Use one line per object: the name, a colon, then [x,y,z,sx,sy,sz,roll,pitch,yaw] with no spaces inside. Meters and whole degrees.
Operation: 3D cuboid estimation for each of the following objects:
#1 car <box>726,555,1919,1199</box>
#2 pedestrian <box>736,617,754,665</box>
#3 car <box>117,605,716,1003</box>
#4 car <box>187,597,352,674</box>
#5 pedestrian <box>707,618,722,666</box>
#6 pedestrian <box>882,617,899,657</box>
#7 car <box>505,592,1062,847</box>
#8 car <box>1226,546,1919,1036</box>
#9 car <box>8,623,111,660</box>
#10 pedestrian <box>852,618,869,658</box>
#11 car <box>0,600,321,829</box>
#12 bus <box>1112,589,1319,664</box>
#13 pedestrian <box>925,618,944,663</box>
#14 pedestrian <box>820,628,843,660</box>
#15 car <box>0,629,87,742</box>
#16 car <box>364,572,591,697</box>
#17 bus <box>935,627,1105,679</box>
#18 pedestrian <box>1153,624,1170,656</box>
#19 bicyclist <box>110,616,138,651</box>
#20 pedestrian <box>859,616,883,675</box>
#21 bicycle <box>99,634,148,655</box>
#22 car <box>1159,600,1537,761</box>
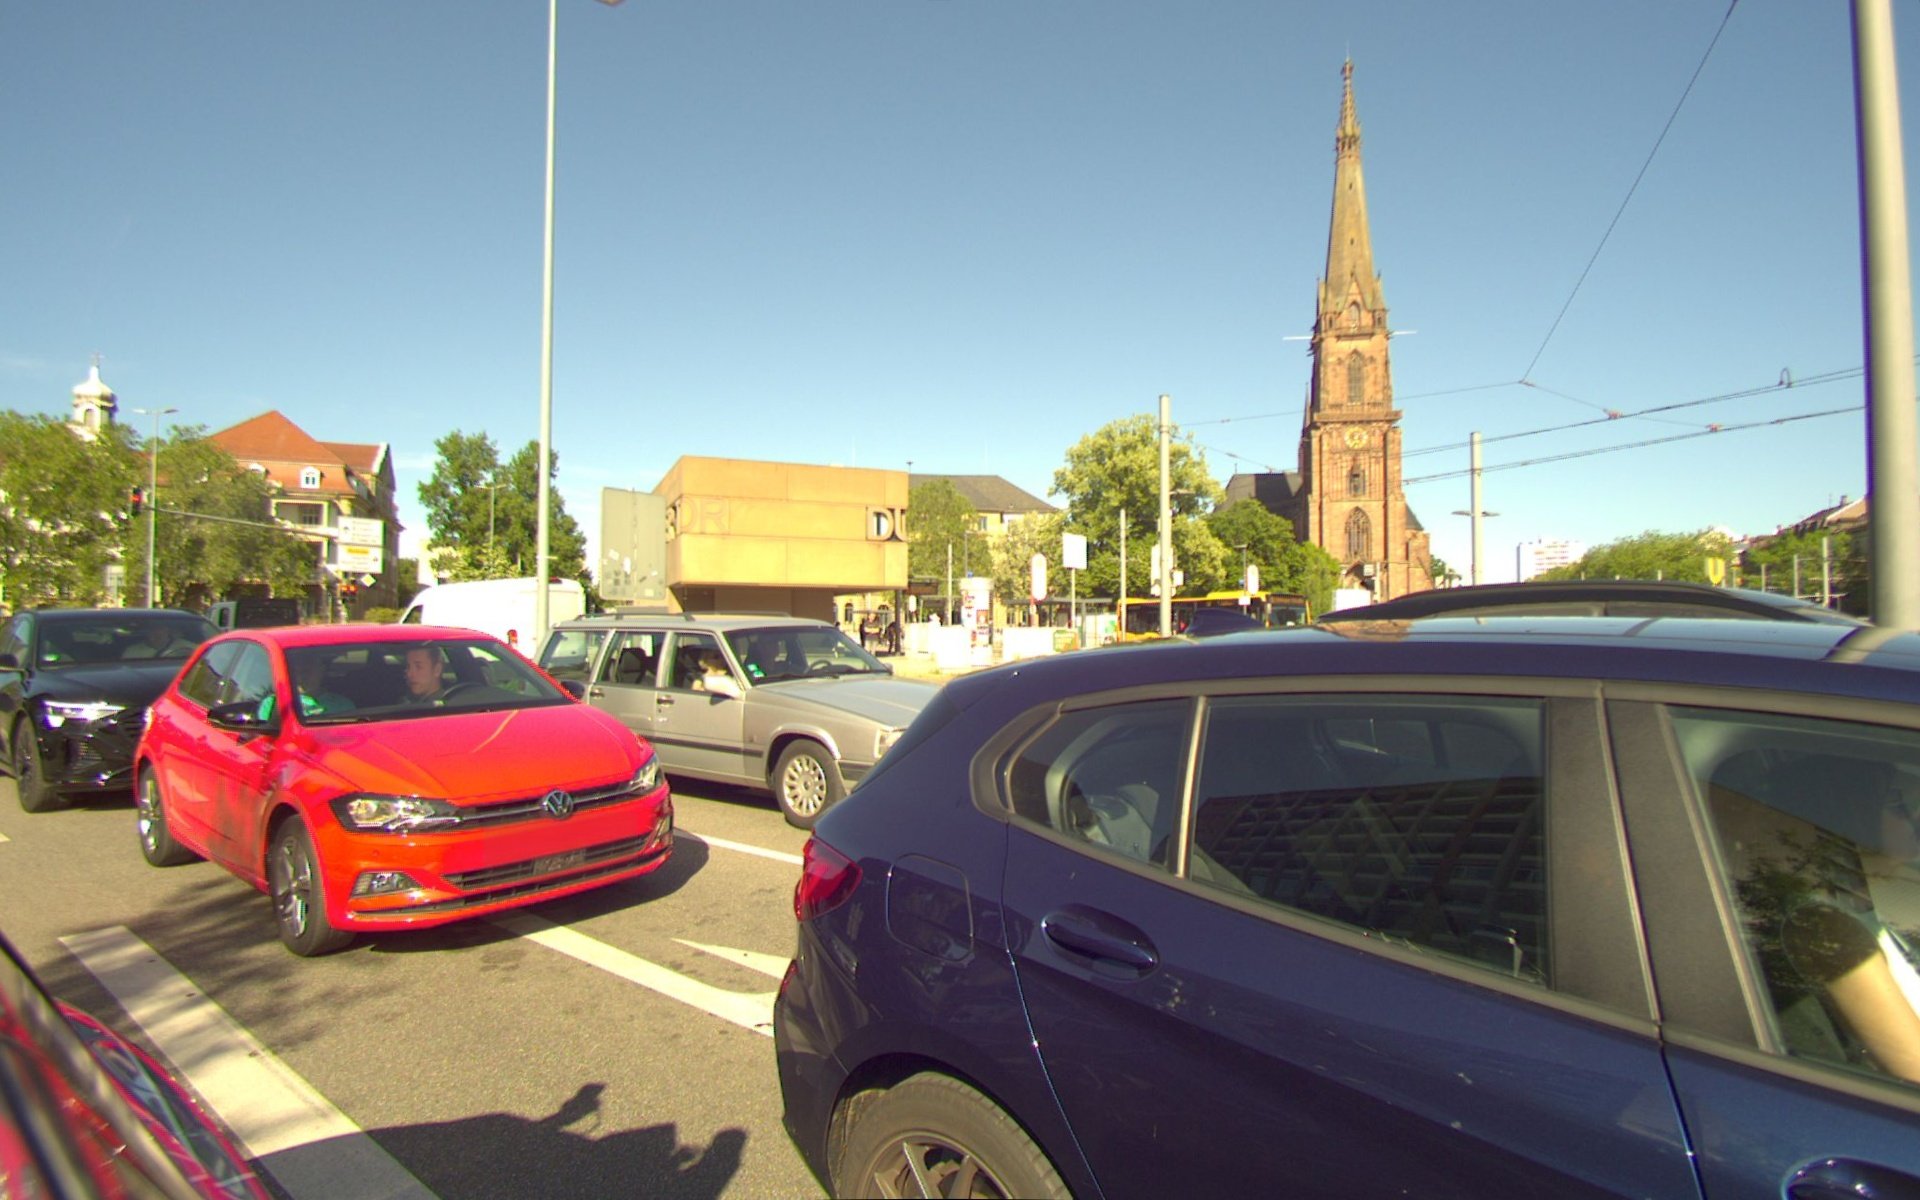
car: [1.582,0.682,1.383,4.030,1.456,1.692,-1,-1,42]
pedestrian: [-8.128,1.543,38.294,0.635,1.789,0.618,0,-2,-8]
car: [-3.228,0.809,5.679,3.850,1.484,1.653,-2,-1,40]
car: [-22.674,1.157,33.147,6.191,2.331,2.095,-1,-2,31]
pedestrian: [-9.343,1.591,38.546,0.460,1.789,0.648,0,-2,-21]
pedestrian: [-3.100,1.644,44.997,0.468,1.789,0.638,-2,-2,36]
car: [-1.658,0.804,8.223,4.746,1.484,1.692,-3,0,38]
car: [3.319,0.610,4.065,4.010,1.529,1.738,-2,-2,44]
car: [-42.122,1.927,47.376,1.522,1.692,3.340,-2,-3,35]
pedestrian: [-4.582,1.744,46.414,0.468,1.789,0.638,-2,-2,36]
car: [-7.795,0.877,9.300,4.446,1.628,1.836,-1,-2,38]
bus: [11.631,1.314,48.111,2.715,3.088,12.201,1,-2,-23]
pedestrian: [-1.039,1.647,41.072,0.634,1.789,0.470,1,-2,-29]
pedestrian: [-5.488,1.874,43.169,0.635,1.320,0.764,1,-2,-40]
car: [-13.605,1.123,13.890,3.704,1.429,1.557,-1,-2,34]
car: [-10.926,0.775,22.799,5.399,2.527,1.979,-1,-2,31]
bus: [1.503,1.324,26.160,4.174,1.251,1.627,-1,-2,35]
pedestrian: [9.707,1.930,48.687,0.519,1.525,0.572,-1,-1,-25]
bicyclist: [-38.162,1.534,46.188,0.693,1.570,0.807,-1,-1,33]
pedestrian: [-2.777,1.416,31.616,0.658,1.802,0.646,-1,-1,1]
bicycle: [-38.144,2.004,46.180,0.588,0.896,1.636,-1,0,33]
car: [4.689,0.900,12.358,4.057,1.672,1.851,-1,-2,31]
